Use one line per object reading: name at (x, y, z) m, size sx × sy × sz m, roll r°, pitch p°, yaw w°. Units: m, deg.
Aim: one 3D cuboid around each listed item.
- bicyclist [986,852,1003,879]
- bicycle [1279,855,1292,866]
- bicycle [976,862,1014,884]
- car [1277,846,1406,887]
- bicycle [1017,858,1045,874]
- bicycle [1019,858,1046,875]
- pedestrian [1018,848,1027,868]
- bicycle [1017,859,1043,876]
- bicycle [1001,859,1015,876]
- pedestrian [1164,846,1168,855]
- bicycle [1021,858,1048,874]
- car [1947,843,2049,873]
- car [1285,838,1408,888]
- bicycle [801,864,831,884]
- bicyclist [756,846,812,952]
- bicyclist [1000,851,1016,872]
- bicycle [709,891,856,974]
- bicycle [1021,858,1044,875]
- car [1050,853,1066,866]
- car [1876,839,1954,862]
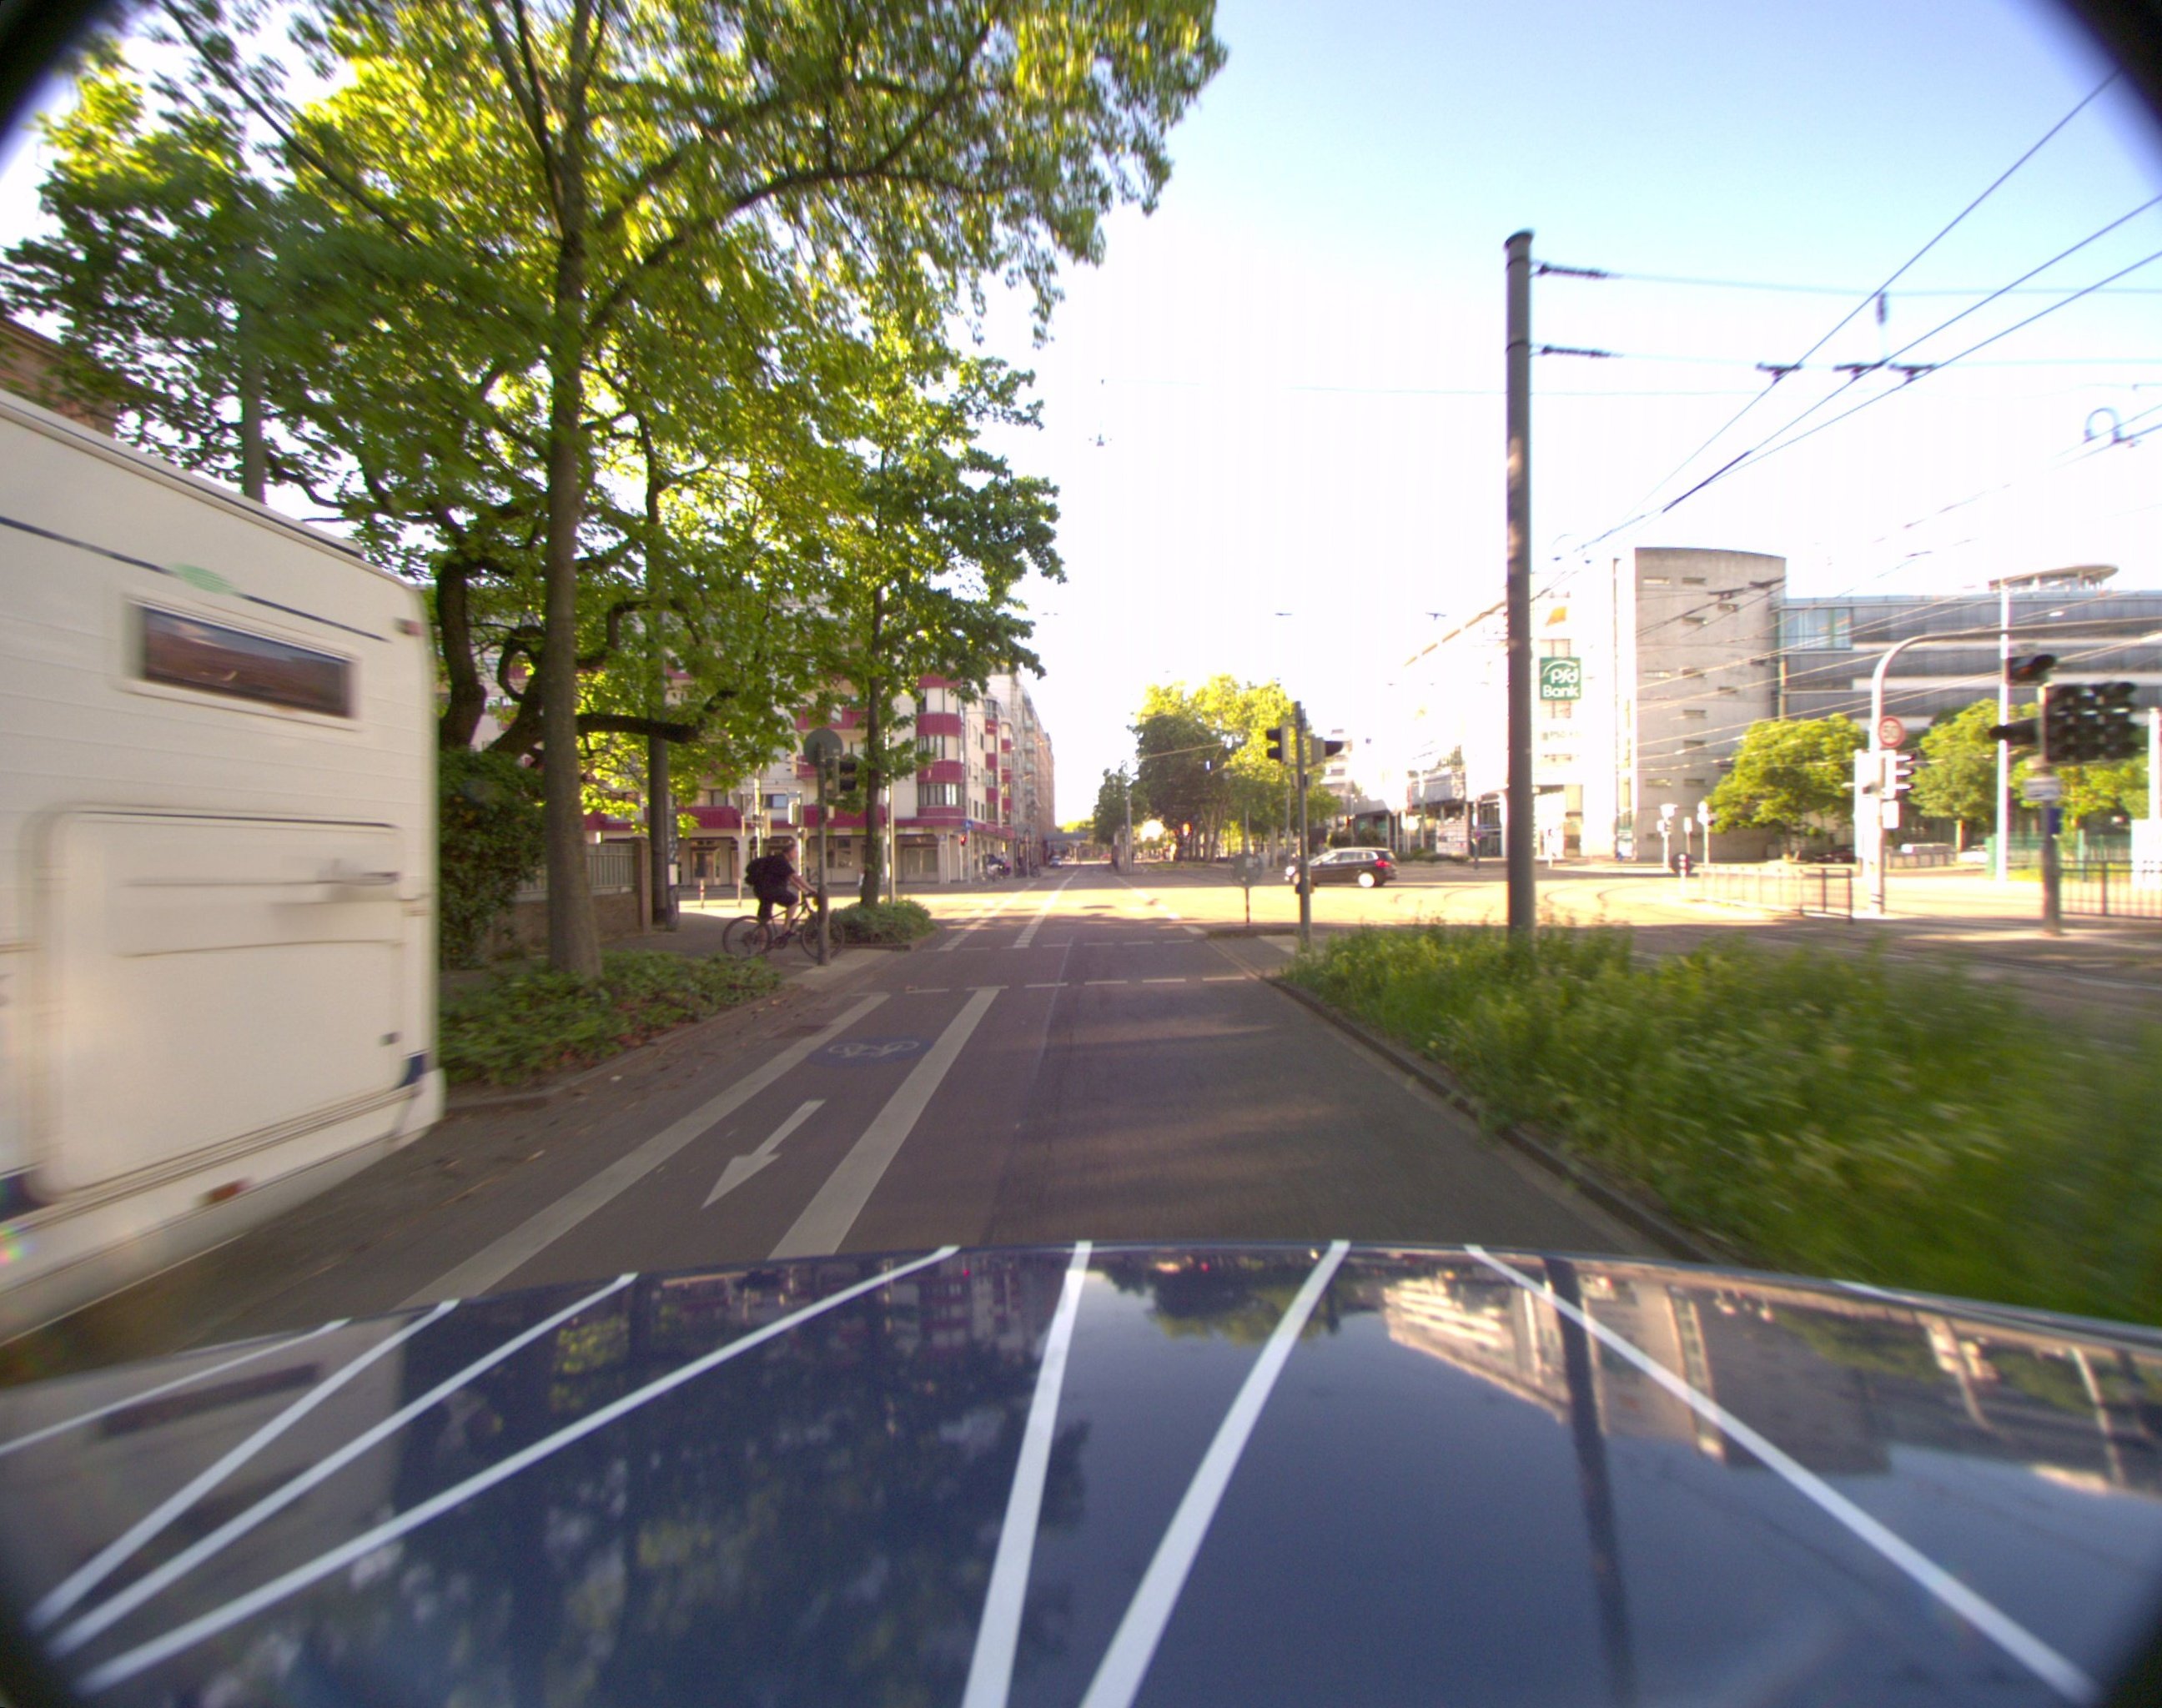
bicyclist at (-4.974, 0.667, 43.687) m, size 0.882 × 1.485 × 0.722 m, roll -2°, pitch 1°, yaw -15°
bicycle at (17.522, 0.557, 65.143) m, size 0.814 × 0.940 × 1.727 m, roll -1°, pitch 0°, yaw 8°
bicycle at (-4.946, 1.063, 43.692) m, size 2.044 × 1.182 × 0.590 m, roll -2°, pitch 1°, yaw -15°
car at (10.986, 0.503, 32.203) m, size 4.741 × 1.607 × 2.004 m, roll -1°, pitch 0°, yaw 37°
bicycle at (-3.704, 0.893, 56.387) m, size 1.982 × 1.192 × 0.591 m, roll -1°, pitch 1°, yaw -3°
bicycle at (-3.538, 0.935, 55.524) m, size 1.835 × 1.213 × 0.496 m, roll -1°, pitch 1°, yaw 5°
pedestrian at (-5.612, 0.371, 72.495) m, size 0.724 × 1.847 × 0.801 m, roll -1°, pitch 1°, yaw 1°
bicycle at (-3.630, 0.944, 54.213) m, size 1.805 × 1.193 × 0.546 m, roll -1°, pitch 2°, yaw 6°
bicycle at (-5.261, 0.942, 54.947) m, size 0.963 × 1.176 × 2.597 m, roll -1°, pitch 0°, yaw -6°
pedestrian at (17.966, -0.707, 160.124) m, size 0.656 × 1.744 × 0.676 m, roll -1°, pitch 0°, yaw -6°
bicycle at (-3.479, 0.929, 57.034) m, size 1.945 × 1.163 × 0.572 m, roll -1°, pitch 1°, yaw -1°
car at (55.798, 0.223, 46.264) m, size 3.969 × 1.687 × 2.107 m, roll -1°, pitch 0°, yaw -5°
car at (11.124, 0.381, 31.976) m, size 4.411 × 1.936 × 2.004 m, roll -1°, pitch 0°, yaw 38°
bicycle at (-15.683, 1.176, 44.901) m, size 1.793 × 1.192 × 0.617 m, roll 0°, pitch 1°, yaw 29°
bicyclist at (-4.418, 0.644, 11.285) m, size 0.703 × 1.501 × 0.750 m, roll -2°, pitch 1°, yaw -23°
bicyclist at (-5.264, 0.527, 54.856) m, size 1.060 × 1.531 × 1.078 m, roll -1°, pitch 1°, yaw -6°
bicycle at (-4.414, 1.136, 11.298) m, size 1.953 × 1.064 × 0.640 m, roll -1°, pitch 1°, yaw -23°
bicycle at (-3.507, 0.930, 54.951) m, size 1.626 × 1.192 × 0.496 m, roll -1°, pitch 1°, yaw 6°
car at (-3.074, 0.691, 102.092) m, size 1.837 × 1.613 × 4.285 m, roll 2°, pitch 0°, yaw 2°
car at (62.520, -0.250, 57.006) m, size 3.950 × 1.644 × 1.735 m, roll -1°, pitch 1°, yaw 0°
